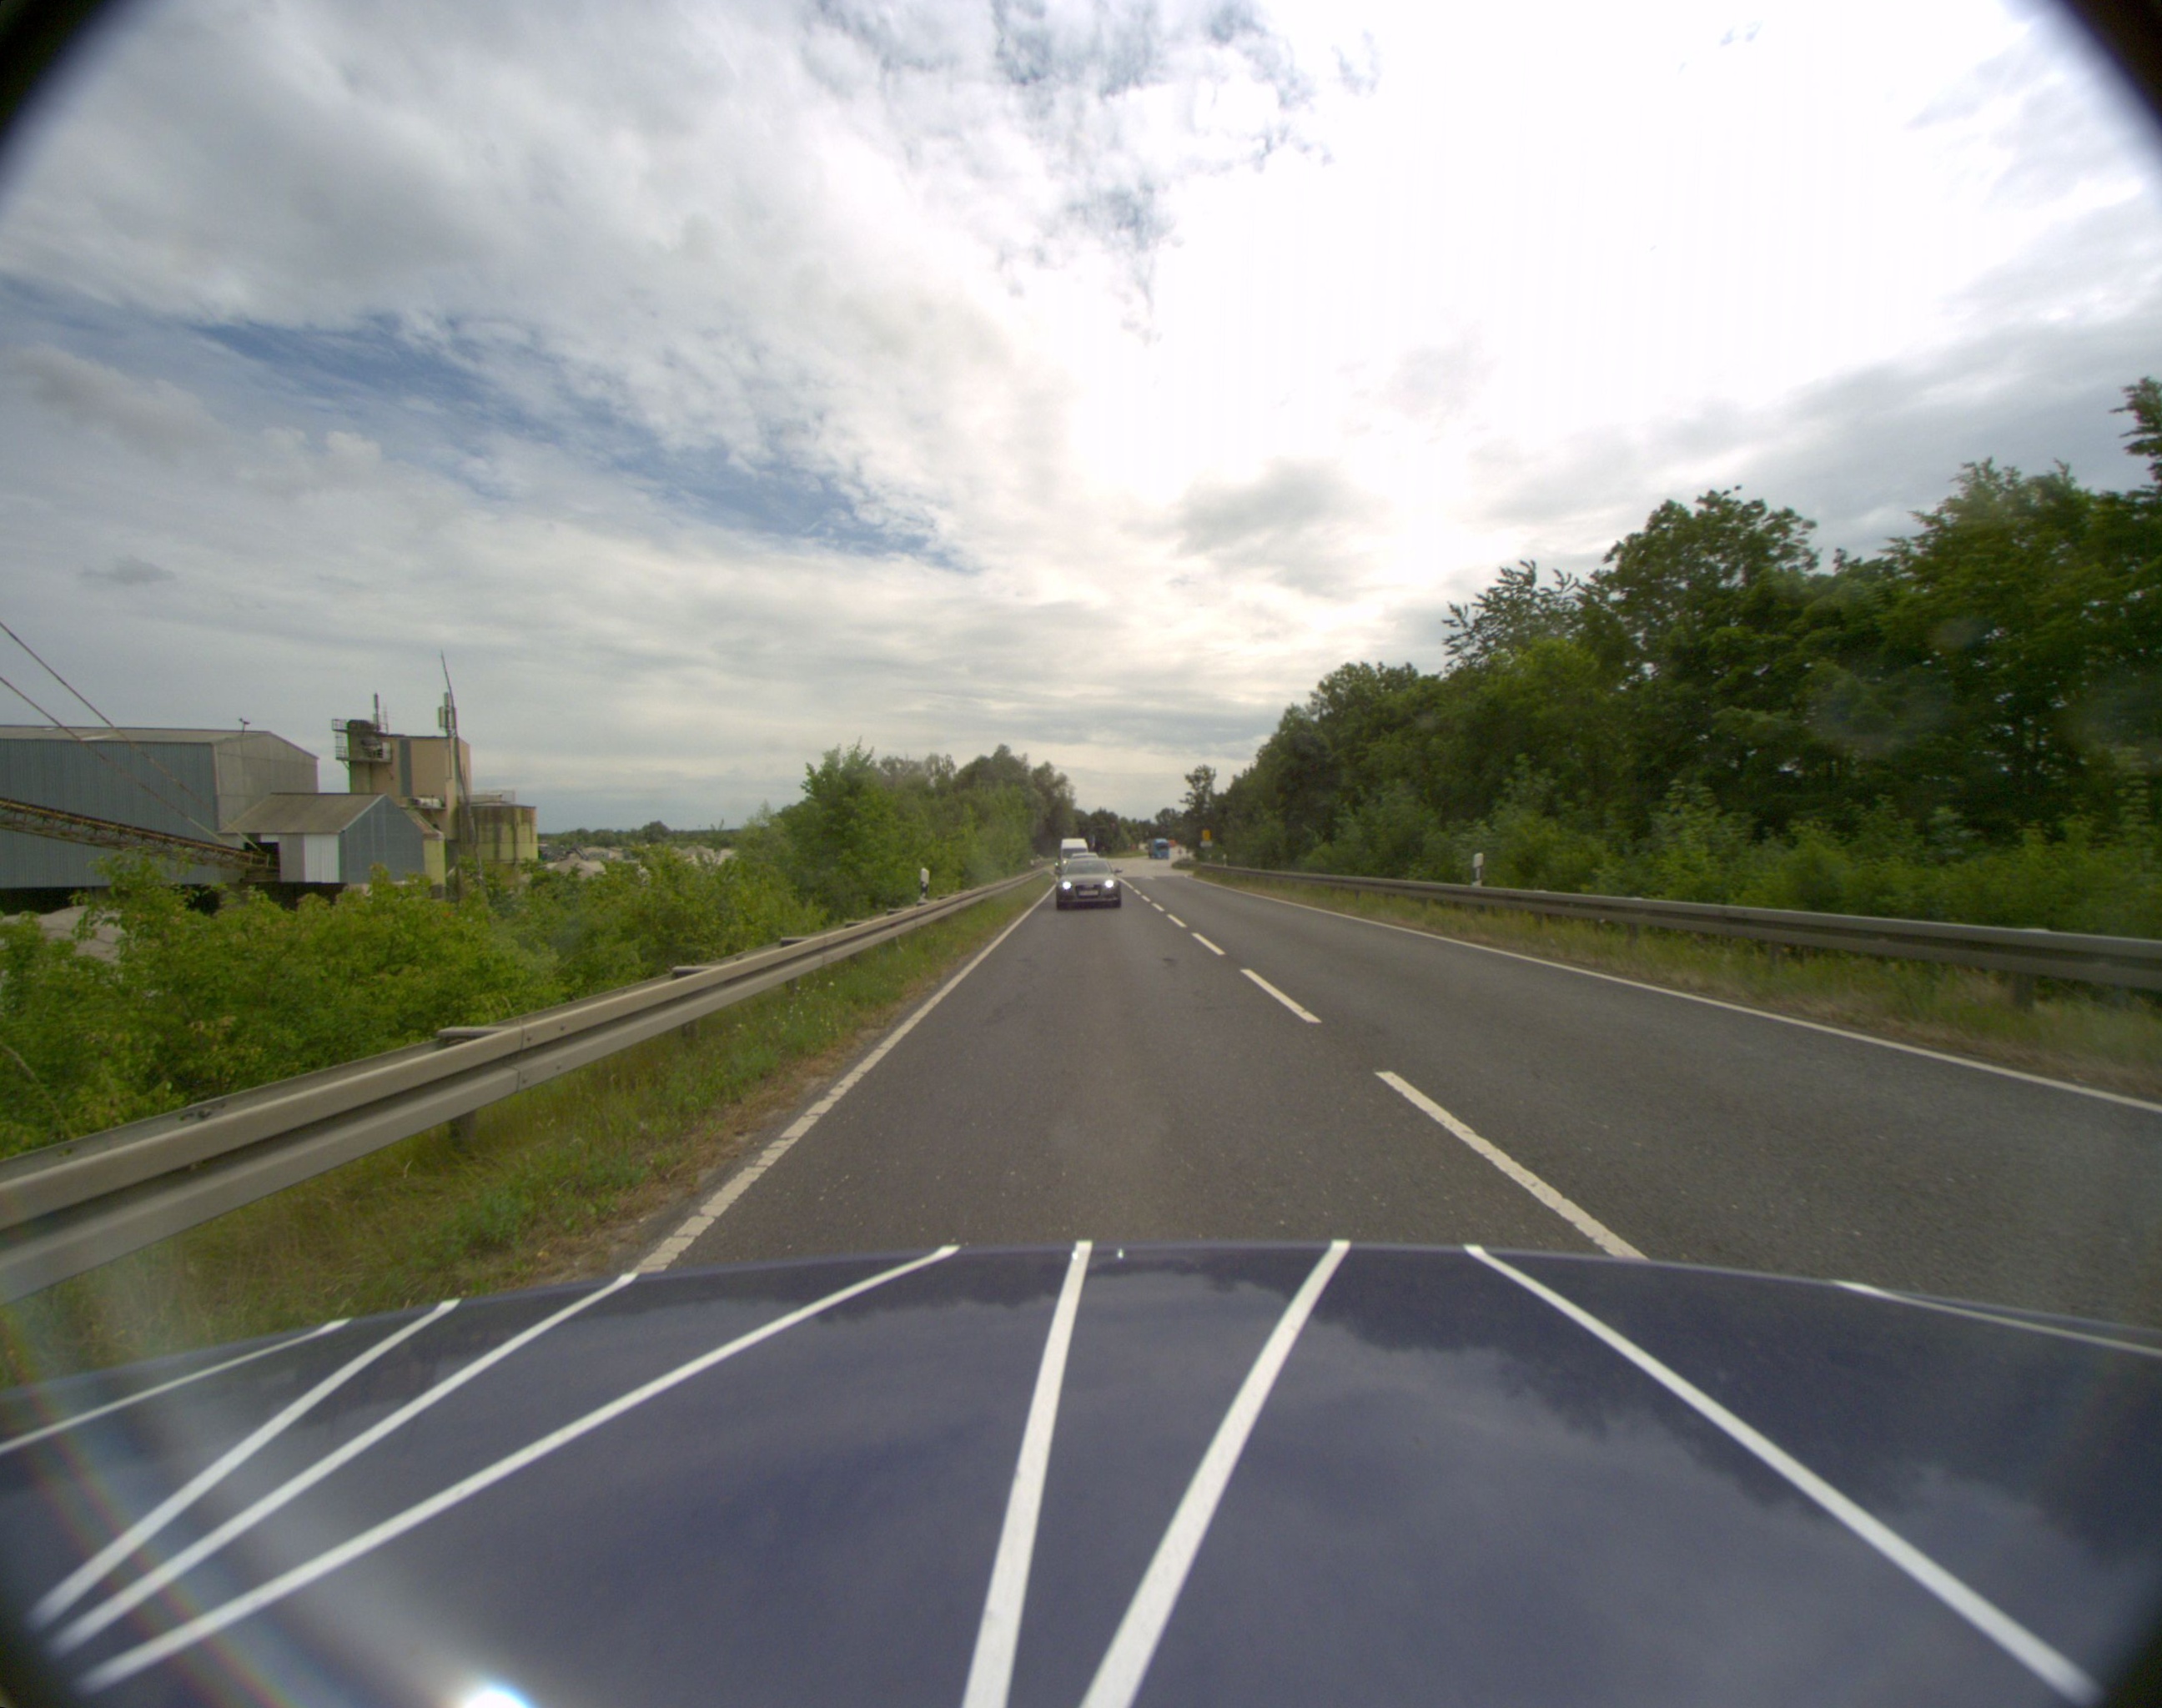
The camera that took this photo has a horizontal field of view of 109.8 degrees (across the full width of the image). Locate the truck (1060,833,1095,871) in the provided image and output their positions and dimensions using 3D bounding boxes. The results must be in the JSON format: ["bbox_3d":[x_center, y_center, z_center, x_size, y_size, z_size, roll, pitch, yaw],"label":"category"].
[{"bbox_3d":[-0.340,-0.168,55.311,2.379,2.579,5.996,1,1,-2],"label":"truck"}]

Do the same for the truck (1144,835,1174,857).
[{"bbox_3d":[15.715,-1.636,154.403,3.030,4.325,9.557,0,1,-13],"label":"truck"}]

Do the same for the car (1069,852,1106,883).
[{"bbox_3d":[0.415,0.670,41.185,1.826,1.489,4.224,2,1,2],"label":"car"}]

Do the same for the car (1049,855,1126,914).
[{"bbox_3d":[0.311,0.846,23.279,1.964,1.447,4.797,-2,1,5],"label":"car"}]

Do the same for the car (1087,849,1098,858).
[{"bbox_3d":[1.808,-0.079,118.460,1.744,1.317,4.000,3,1,1],"label":"car"}]
